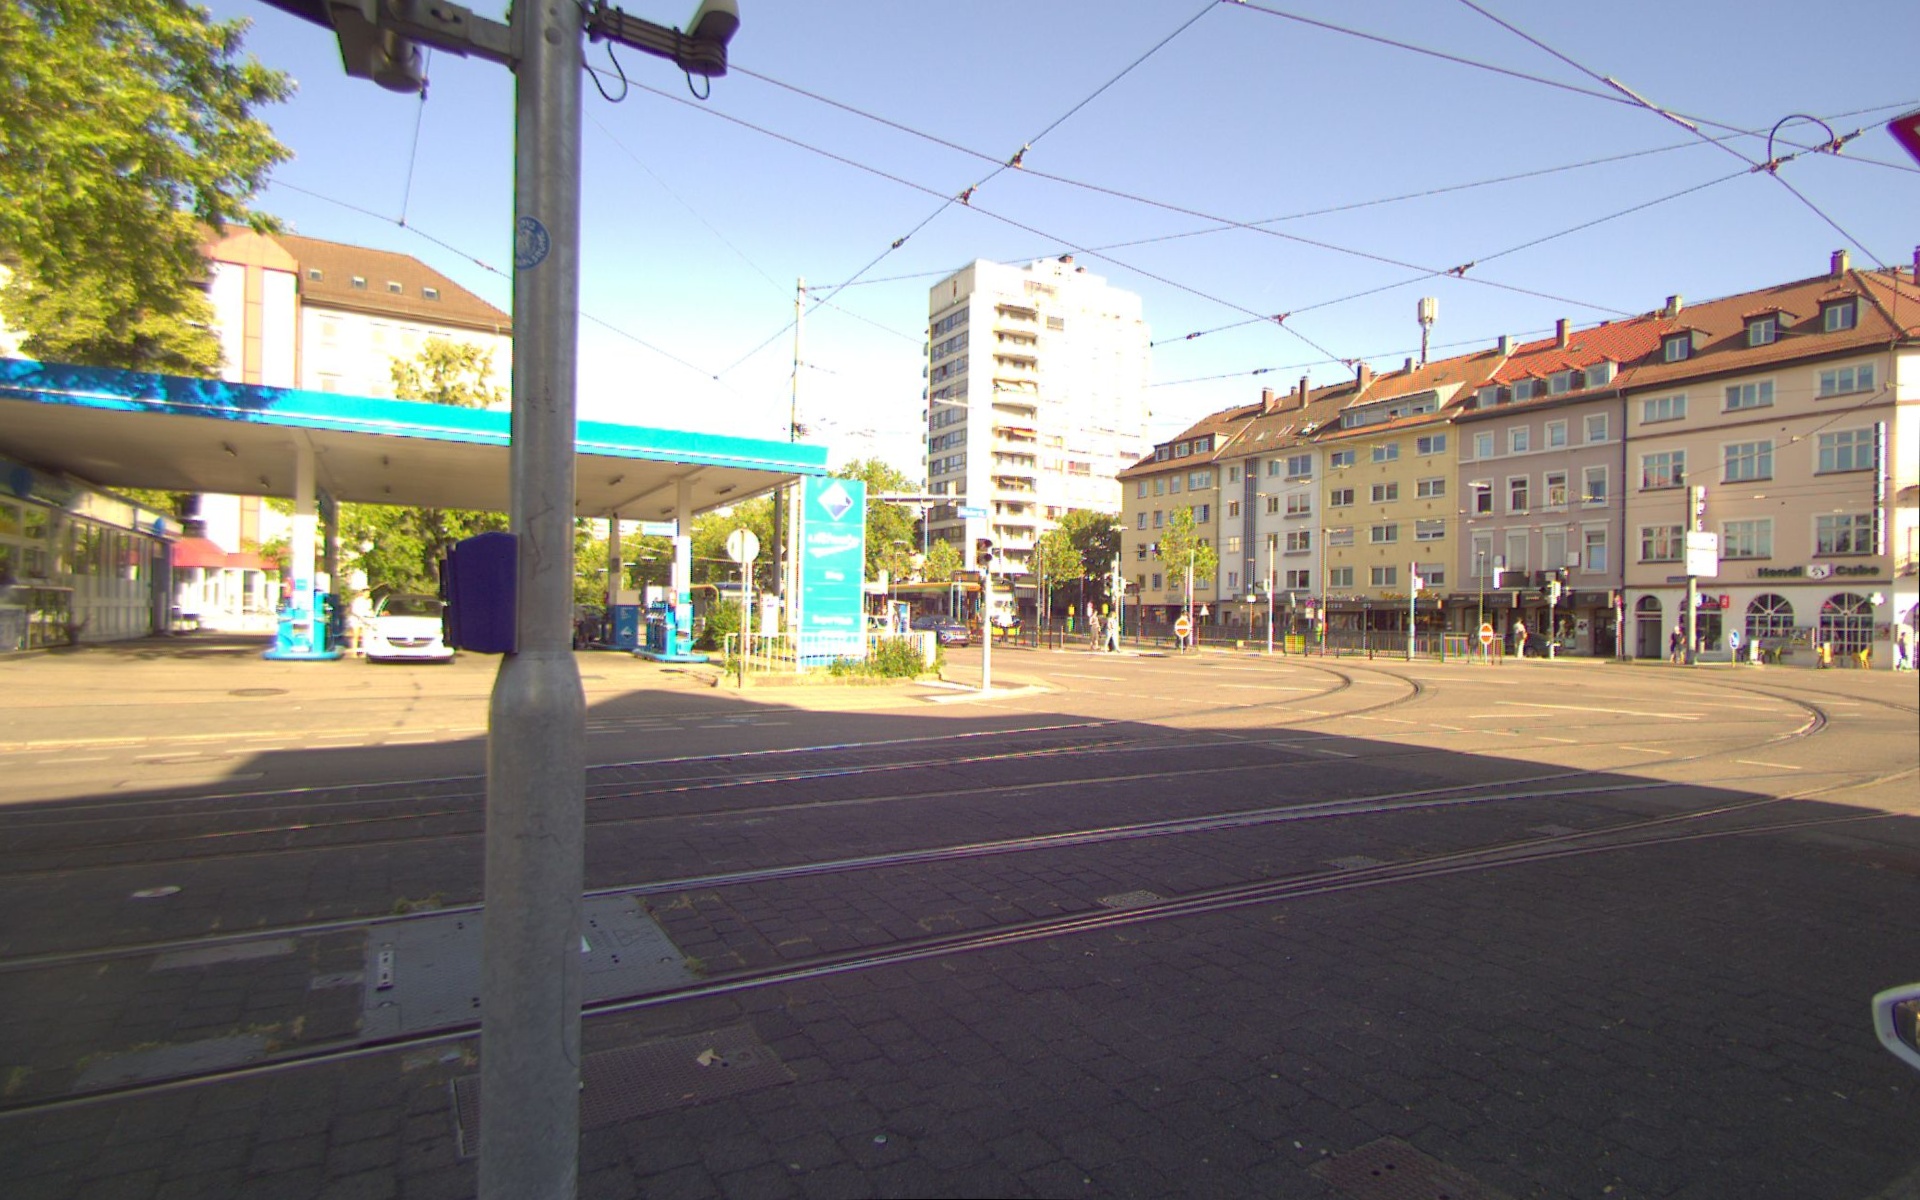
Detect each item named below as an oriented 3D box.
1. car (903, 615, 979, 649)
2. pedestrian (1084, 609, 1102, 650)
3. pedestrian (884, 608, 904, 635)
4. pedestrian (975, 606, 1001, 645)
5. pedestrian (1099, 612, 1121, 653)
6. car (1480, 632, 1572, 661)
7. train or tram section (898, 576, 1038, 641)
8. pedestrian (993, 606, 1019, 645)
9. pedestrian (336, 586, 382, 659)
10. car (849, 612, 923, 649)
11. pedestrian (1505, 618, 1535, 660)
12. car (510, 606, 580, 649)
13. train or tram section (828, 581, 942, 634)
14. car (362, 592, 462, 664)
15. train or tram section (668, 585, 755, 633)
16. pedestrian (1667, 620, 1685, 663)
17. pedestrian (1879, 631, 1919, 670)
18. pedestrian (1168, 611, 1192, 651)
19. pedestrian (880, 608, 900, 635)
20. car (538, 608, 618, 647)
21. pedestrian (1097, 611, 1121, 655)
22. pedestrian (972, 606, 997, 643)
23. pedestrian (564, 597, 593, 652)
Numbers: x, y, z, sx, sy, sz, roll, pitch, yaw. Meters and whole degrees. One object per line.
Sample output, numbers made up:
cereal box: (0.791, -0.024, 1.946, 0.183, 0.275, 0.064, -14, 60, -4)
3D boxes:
car: (-0.951, 1.498, 48.350, 1.937, 1.475, 4.077, 1, 0, -30)
pedestrian: (5.636, 1.259, 42.643, 0.490, 1.721, 0.554, 1, -1, -29)
pedestrian: (-4.052, 1.319, 61.969, 0.902, 1.646, 0.887, 1, -1, -33)
pedestrian: (1.345, 1.231, 48.323, 0.902, 1.826, 0.887, 1, -1, -33)
pedestrian: (6.089, 1.329, 40.818, 0.698, 1.646, 0.799, 0, -1, 24)
car: (30.782, 2.501, 54.717, 1.980, 1.483, 3.962, 1, -1, -34)
train or tram section: (0.237, 0.526, 58.965, 3.252, 3.459, 10.157, 1, -1, -33)
pedestrian: (2.207, 1.218, 48.401, 0.902, 1.826, 0.887, 1, -1, -33)
pedestrian: (-13.869, 0.508, 23.170, 0.800, 1.652, 0.644, 0, -1, 38)
car: (-3.500, 1.400, 46.808, 1.976, 1.615, 3.970, 1, -1, -29)
pedestrian: (24.503, 1.698, 43.957, 0.801, 1.842, 0.871, 1, -1, -29)
car: (-13.495, 0.869, 32.579, 1.752, 1.332, 3.520, 1, -1, -28)
train or tram section: (-5.244, 0.531, 67.584, 3.252, 3.335, 10.157, 1, -1, -33)
car: (-12.265, 0.609, 22.435, 1.773, 1.461, 3.968, 2, -1, -30)
train or tram section: (-15.024, 0.461, 60.041, 2.233, 2.627, 10.398, 2, 0, -30)
pedestrian: (34.217, 1.987, 48.023, 0.498, 2.040, 0.507, 1, -1, -27)
pedestrian: (40.510, 2.159, 43.300, 1.048, 1.612, 1.041, 0, -1, 26)
pedestrian: (9.654, 1.359, 44.067, 0.776, 1.721, 0.690, 1, -1, -40)
pedestrian: (-4.212, 1.293, 60.503, 0.902, 1.646, 0.887, 1, -1, -33)
car: (-17.197, 1.219, 45.384, 1.960, 1.685, 4.001, 1, -1, 2)
pedestrian: (5.892, 1.316, 39.794, 0.551, 1.721, 0.737, 1, -1, -42)
pedestrian: (1.226, 1.227, 50.252, 0.902, 1.826, 0.887, 1, -1, -33)
pedestrian: (-12.919, 0.826, 34.023, 0.898, 1.826, 0.891, 1, -1, -21)
